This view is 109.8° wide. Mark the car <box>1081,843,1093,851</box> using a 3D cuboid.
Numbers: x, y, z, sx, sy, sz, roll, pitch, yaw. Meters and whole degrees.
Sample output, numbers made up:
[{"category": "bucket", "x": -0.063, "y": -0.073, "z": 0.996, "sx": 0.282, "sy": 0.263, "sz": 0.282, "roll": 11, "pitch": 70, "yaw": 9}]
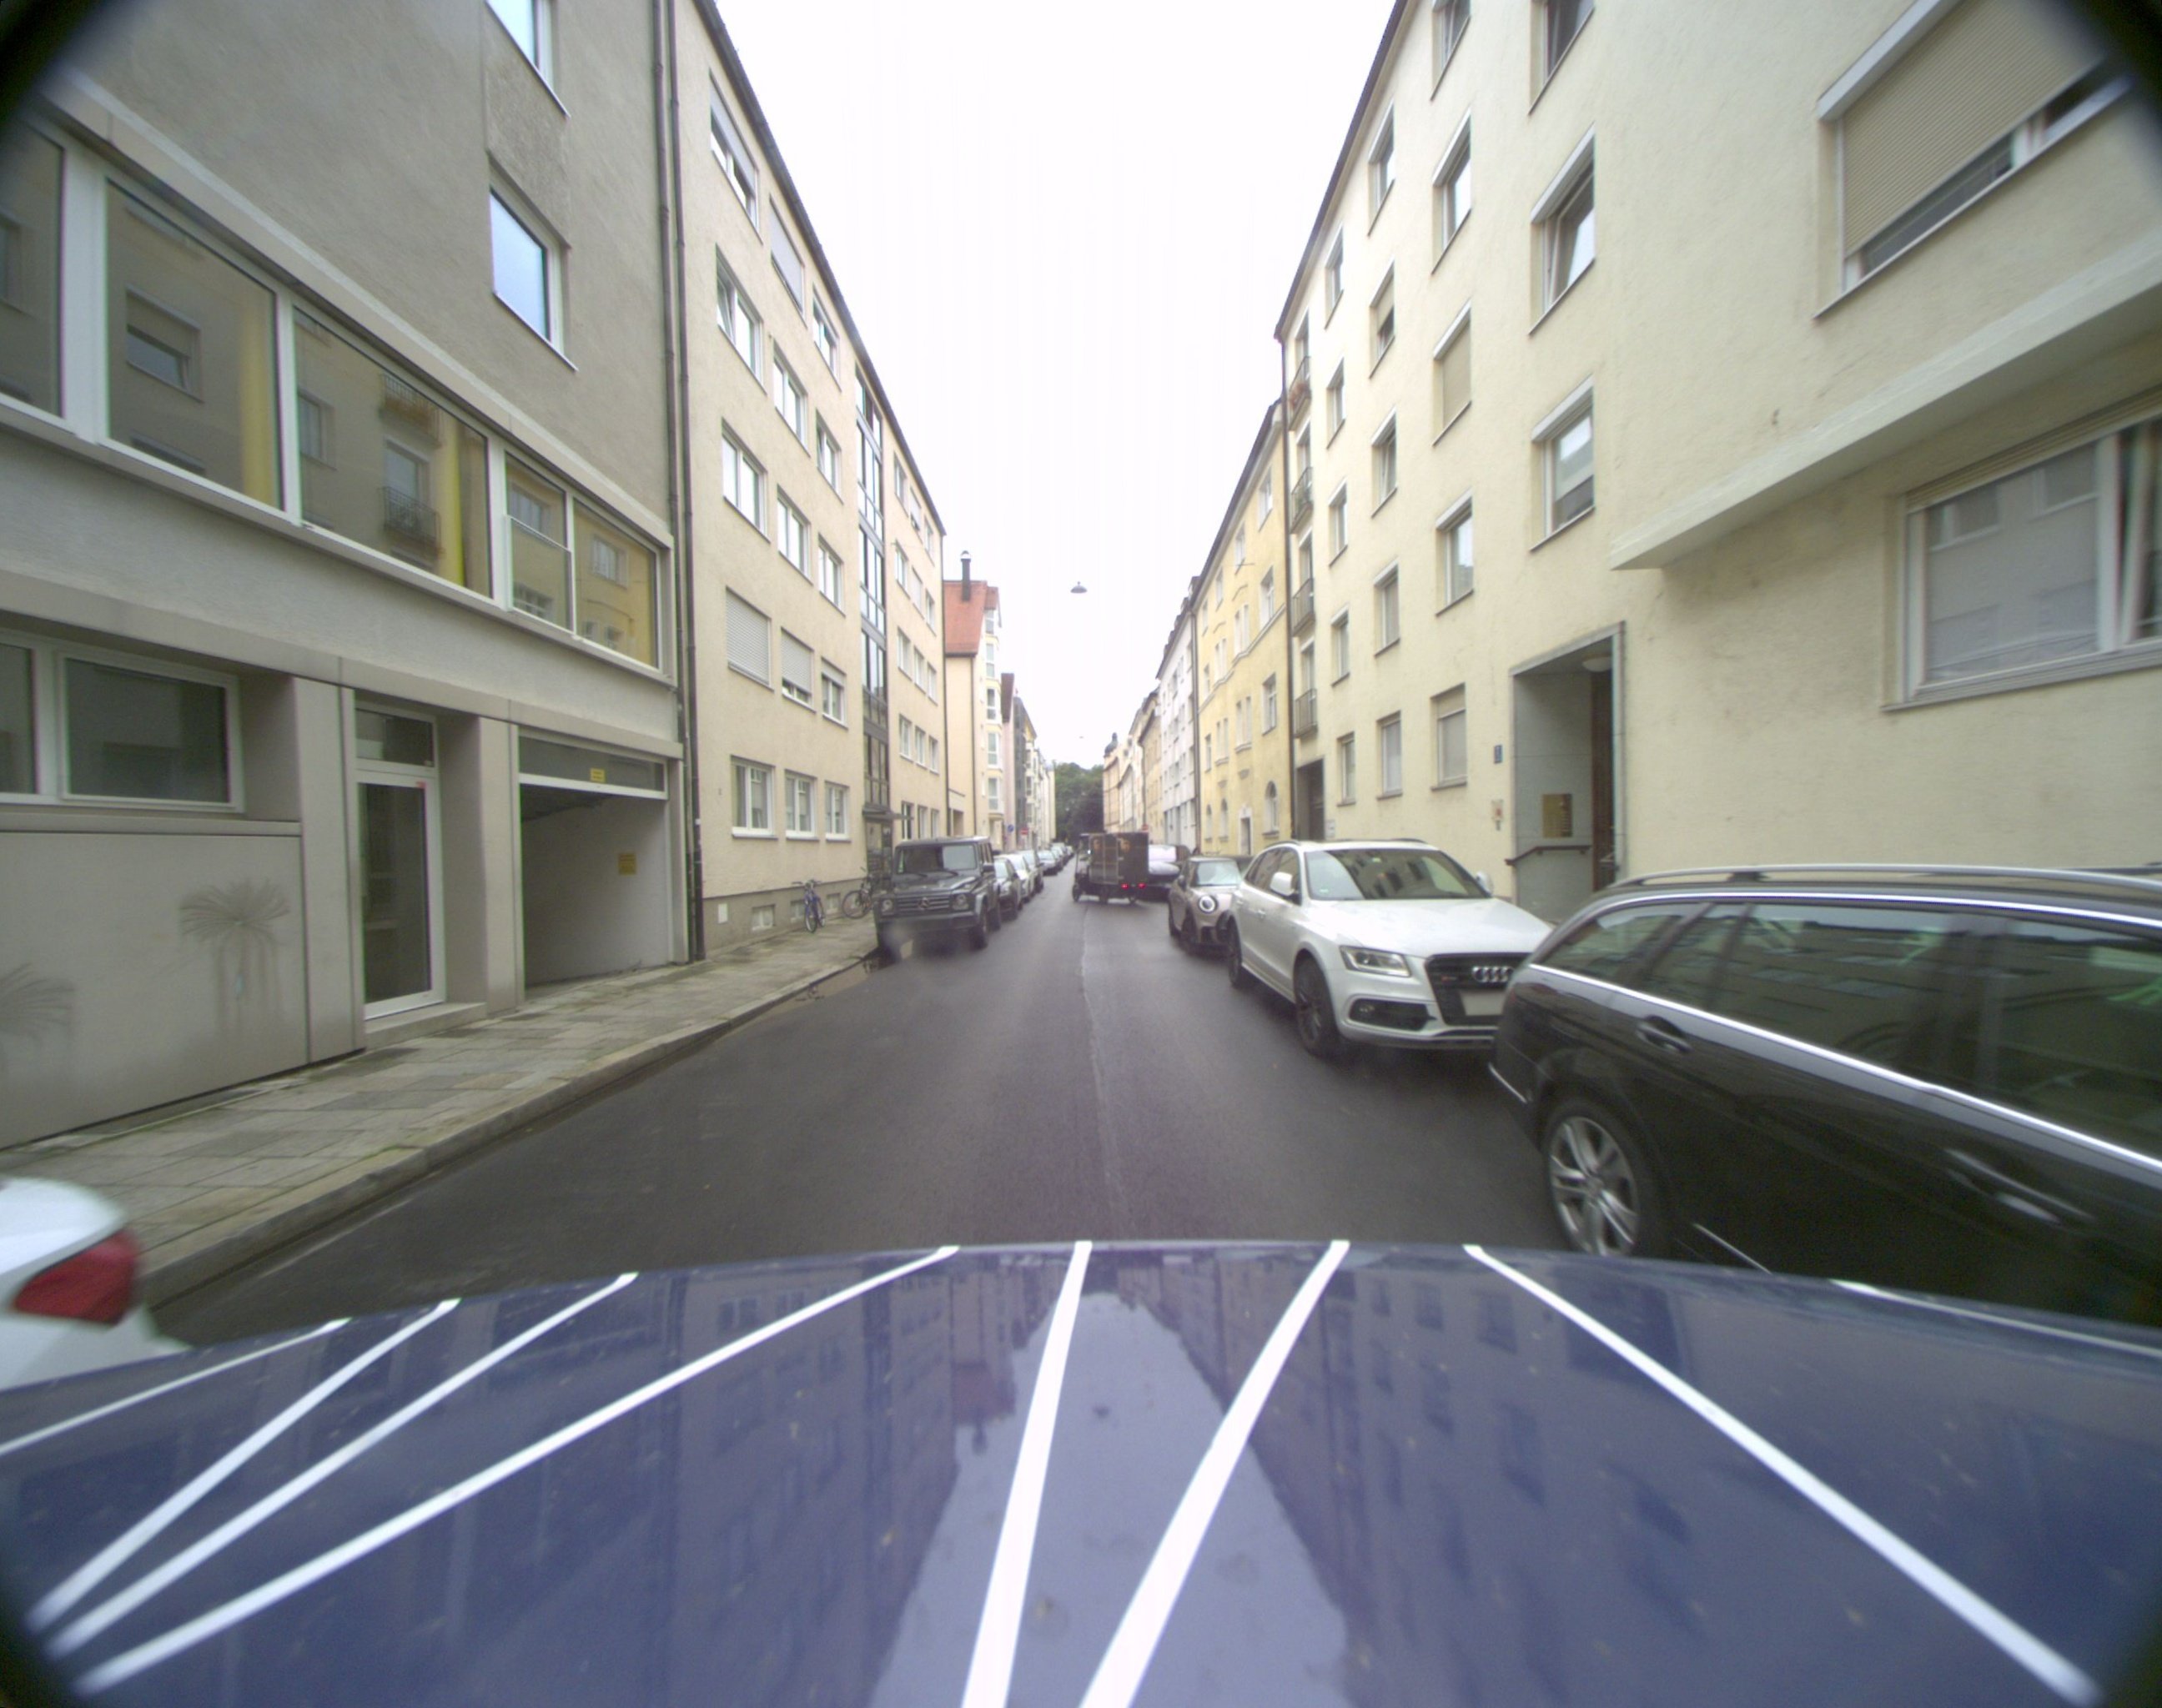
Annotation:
[{"category": "car", "x": 1.162, "y": -1.435, "z": 151.163, "sx": 1.800, "sy": 1.502, "sz": 3.995, "roll": 0, "pitch": 1, "yaw": -11}]

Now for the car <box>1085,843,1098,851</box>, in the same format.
[{"category": "car", "x": 1.947, "y": -1.339, "z": 146.972, "sx": 1.800, "sy": 1.502, "sz": 3.995, "roll": 0, "pitch": 1, "yaw": -11}]

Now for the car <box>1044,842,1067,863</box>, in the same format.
[{"category": "car", "x": -2.145, "y": -0.160, "z": 64.504, "sx": 1.837, "sy": 1.612, "sz": 4.409, "roll": -3, "pitch": 1, "yaw": -1}]

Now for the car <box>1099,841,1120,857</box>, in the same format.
[{"category": "car", "x": 2.958, "y": -0.520, "z": 78.786, "sx": 1.786, "sy": 1.596, "sz": 4.306, "roll": 0, "pitch": 1, "yaw": -3}]

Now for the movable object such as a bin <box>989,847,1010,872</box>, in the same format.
[{"category": "movable object such as a bin", "x": -4.722, "y": 0.320, "z": 44.377, "sx": 1.035, "sy": 1.415, "sz": 1.586, "roll": 1, "pitch": 2, "yaw": 0}]

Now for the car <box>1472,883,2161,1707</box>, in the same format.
[{"category": "car", "x": 2.556, "y": 0.916, "z": 1.158, "sx": 1.770, "sy": 1.475, "sz": 4.423, "roll": -1, "pitch": 1, "yaw": 2}]

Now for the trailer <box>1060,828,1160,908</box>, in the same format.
[{"category": "trailer", "x": 0.754, "y": 0.354, "z": 21.897, "sx": 1.361, "sy": 2.104, "sz": 3.310, "roll": -3, "pitch": 2, "yaw": -27}]

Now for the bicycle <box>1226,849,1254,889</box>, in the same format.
[{"category": "bicycle", "x": 5.379, "y": 0.478, "z": 25.820, "sx": 0.536, "sy": 1.271, "sz": 1.551, "roll": -4, "pitch": 2, "yaw": 0}]

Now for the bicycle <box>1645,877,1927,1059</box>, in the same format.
[{"category": "bicycle", "x": 5.469, "y": 0.807, "z": 6.075, "sx": 0.582, "sy": 1.155, "sz": 1.789, "roll": 1, "pitch": 1, "yaw": 1}]

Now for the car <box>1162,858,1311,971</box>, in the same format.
[{"category": "car", "x": 2.293, "y": 0.827, "z": 12.123, "sx": 1.656, "sy": 1.427, "sz": 3.802, "roll": -1, "pitch": 1, "yaw": 1}]

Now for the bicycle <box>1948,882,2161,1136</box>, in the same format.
[{"category": "bicycle", "x": 5.456, "y": 0.762, "z": 3.599, "sx": 0.646, "sy": 1.155, "sz": 1.789, "roll": 0, "pitch": 1, "yaw": 1}]

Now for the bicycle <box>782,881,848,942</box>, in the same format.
[{"category": "bicycle", "x": -5.258, "y": 1.102, "z": 15.101, "sx": 0.646, "sy": 1.023, "sz": 1.796, "roll": 2, "pitch": 1, "yaw": 0}]

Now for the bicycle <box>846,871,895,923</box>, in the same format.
[{"category": "bicycle", "x": -5.053, "y": 1.007, "z": 18.331, "sx": 0.656, "sy": 1.100, "sz": 1.760, "roll": 2, "pitch": 1, "yaw": 0}]

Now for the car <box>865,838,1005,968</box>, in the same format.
[{"category": "car", "x": -2.547, "y": 0.771, "z": 14.282, "sx": 1.755, "sy": 1.964, "sz": 4.342, "roll": -4, "pitch": 0, "yaw": -1}]

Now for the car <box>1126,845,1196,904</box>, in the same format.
[{"category": "car", "x": 2.424, "y": 0.554, "z": 23.948, "sx": 1.883, "sy": 1.650, "sz": 4.414, "roll": -1, "pitch": 1, "yaw": 2}]

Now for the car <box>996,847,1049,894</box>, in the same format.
[{"category": "car", "x": -2.226, "y": 0.572, "z": 29.708, "sx": 1.716, "sy": 1.599, "sz": 4.243, "roll": -3, "pitch": 1, "yaw": -1}]

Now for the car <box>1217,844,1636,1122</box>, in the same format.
[{"category": "car", "x": 2.506, "y": 0.766, "z": 6.832, "sx": 1.770, "sy": 1.666, "sz": 4.366, "roll": -1, "pitch": 1, "yaw": 0}]

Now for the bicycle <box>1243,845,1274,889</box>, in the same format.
[{"category": "bicycle", "x": 5.552, "y": 0.394, "z": 23.853, "sx": 0.536, "sy": 1.272, "sz": 1.551, "roll": -4, "pitch": 3, "yaw": 0}]

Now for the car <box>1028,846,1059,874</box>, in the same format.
[{"category": "car", "x": -2.204, "y": 0.345, "z": 45.328, "sx": 1.721, "sy": 1.463, "sz": 4.529, "roll": -3, "pitch": 1, "yaw": -2}]

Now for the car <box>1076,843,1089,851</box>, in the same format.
[{"category": "car", "x": 0.309, "y": -1.491, "z": 155.260, "sx": 1.800, "sy": 1.502, "sz": 3.995, "roll": 0, "pitch": 1, "yaw": -11}]

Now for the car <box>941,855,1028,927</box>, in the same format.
[{"category": "car", "x": -2.341, "y": 0.840, "z": 19.382, "sx": 1.716, "sy": 1.477, "sz": 4.242, "roll": -3, "pitch": 1, "yaw": -1}]

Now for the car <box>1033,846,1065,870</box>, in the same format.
[{"category": "car", "x": -2.068, "y": 0.216, "z": 50.132, "sx": 1.837, "sy": 1.398, "sz": 4.410, "roll": -3, "pitch": 1, "yaw": 1}]

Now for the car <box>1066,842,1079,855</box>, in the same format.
[{"category": "car", "x": -1.128, "y": -0.799, "z": 108.226, "sx": 1.739, "sy": 1.743, "sz": 3.685, "roll": -3, "pitch": 1, "yaw": 0}]

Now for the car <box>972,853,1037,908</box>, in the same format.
[{"category": "car", "x": -2.374, "y": 0.781, "z": 24.530, "sx": 1.716, "sy": 1.477, "sz": 4.242, "roll": -3, "pitch": 1, "yaw": -1}]

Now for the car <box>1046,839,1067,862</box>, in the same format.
[{"category": "car", "x": -2.360, "y": -0.376, "z": 75.155, "sx": 1.878, "sy": 2.002, "sz": 5.105, "roll": -3, "pitch": 2, "yaw": 0}]
